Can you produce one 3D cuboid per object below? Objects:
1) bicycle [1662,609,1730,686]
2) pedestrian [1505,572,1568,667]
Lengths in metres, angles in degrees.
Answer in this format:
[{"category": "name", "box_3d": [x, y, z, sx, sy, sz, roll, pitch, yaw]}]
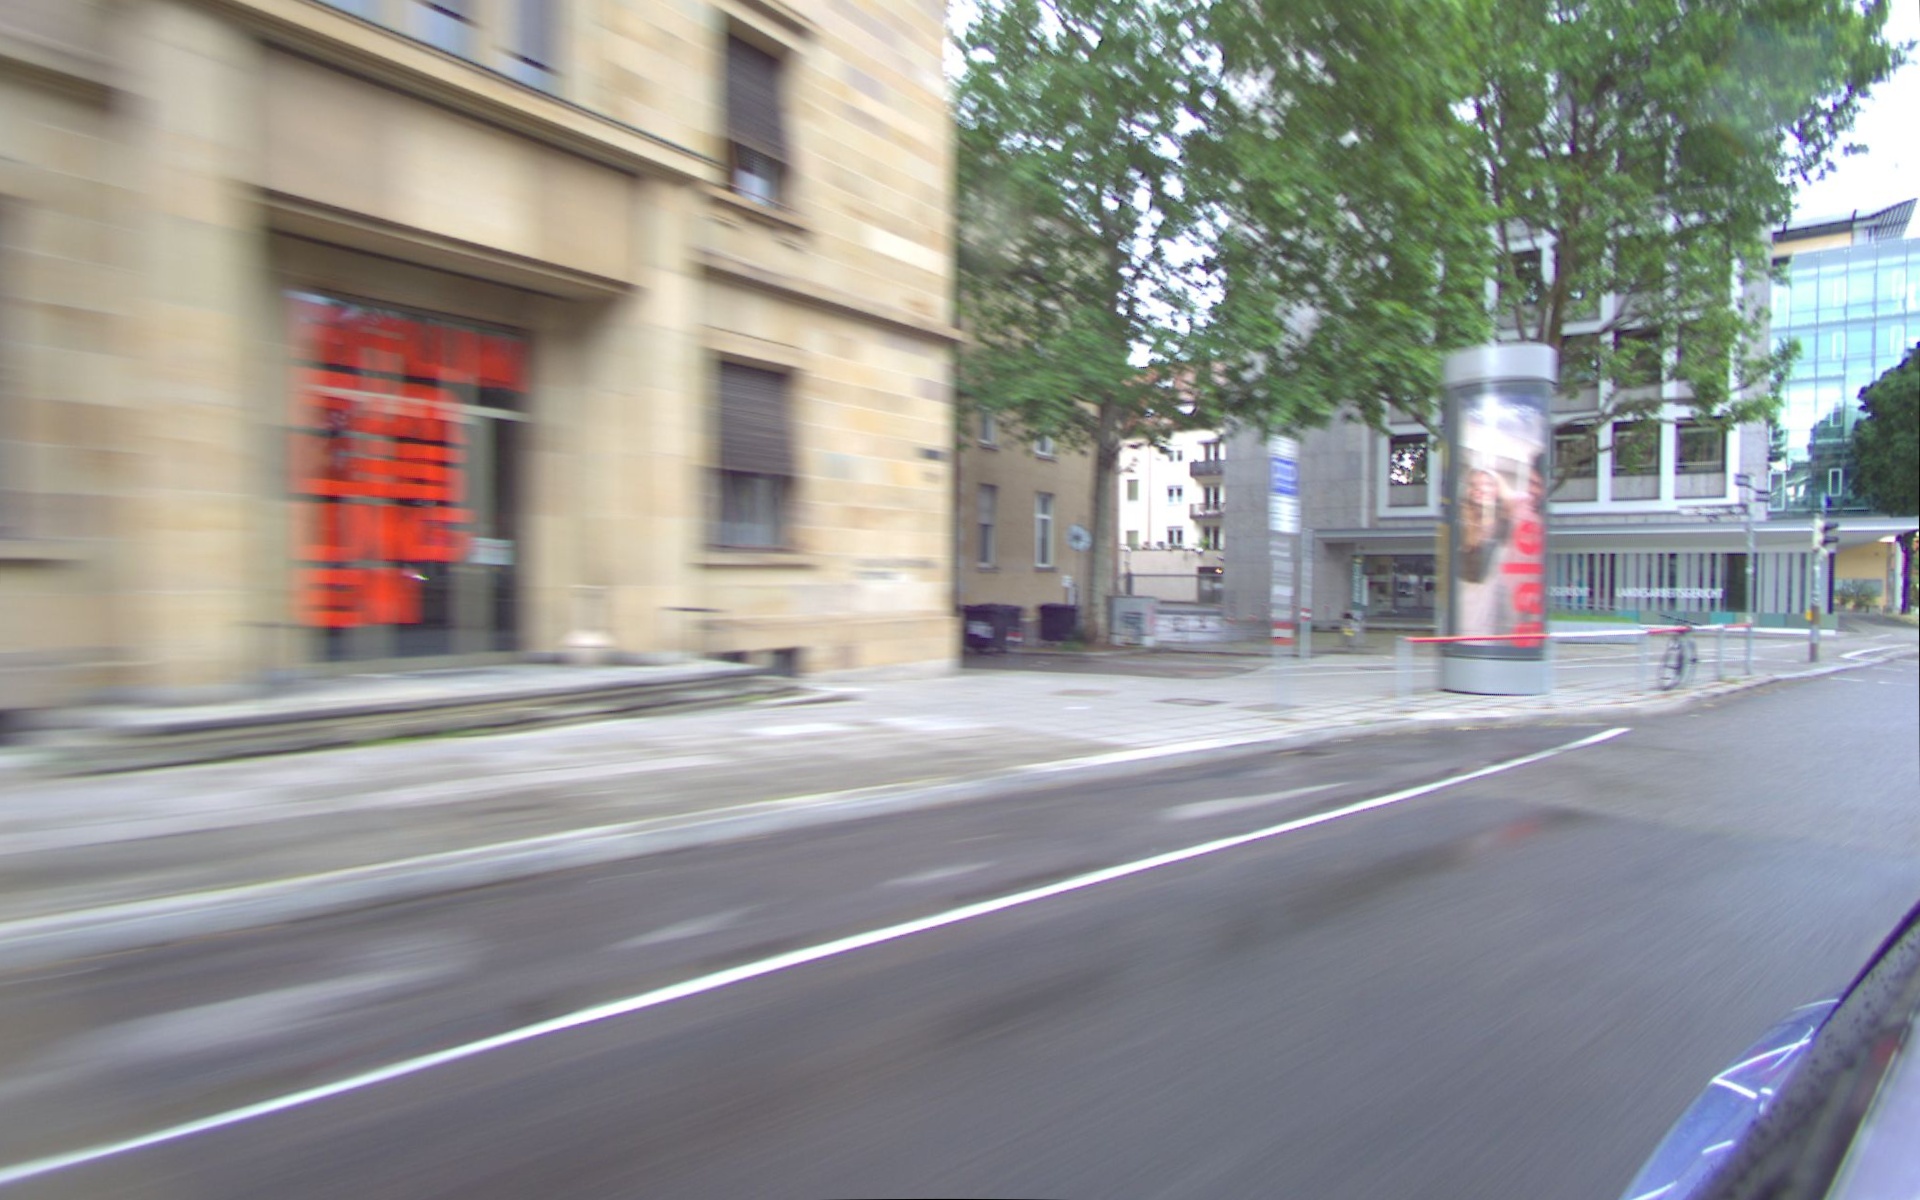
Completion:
[{"category": "bicycle", "box_3d": [10.892, 0.671, 14.952, 1.896, 1.025, 0.489, 0, 1, -44]}, {"category": "pedestrian", "box_3d": [11.198, 0.352, 19.658, 0.847, 1.794, 0.781, 0, 0, -38]}]
